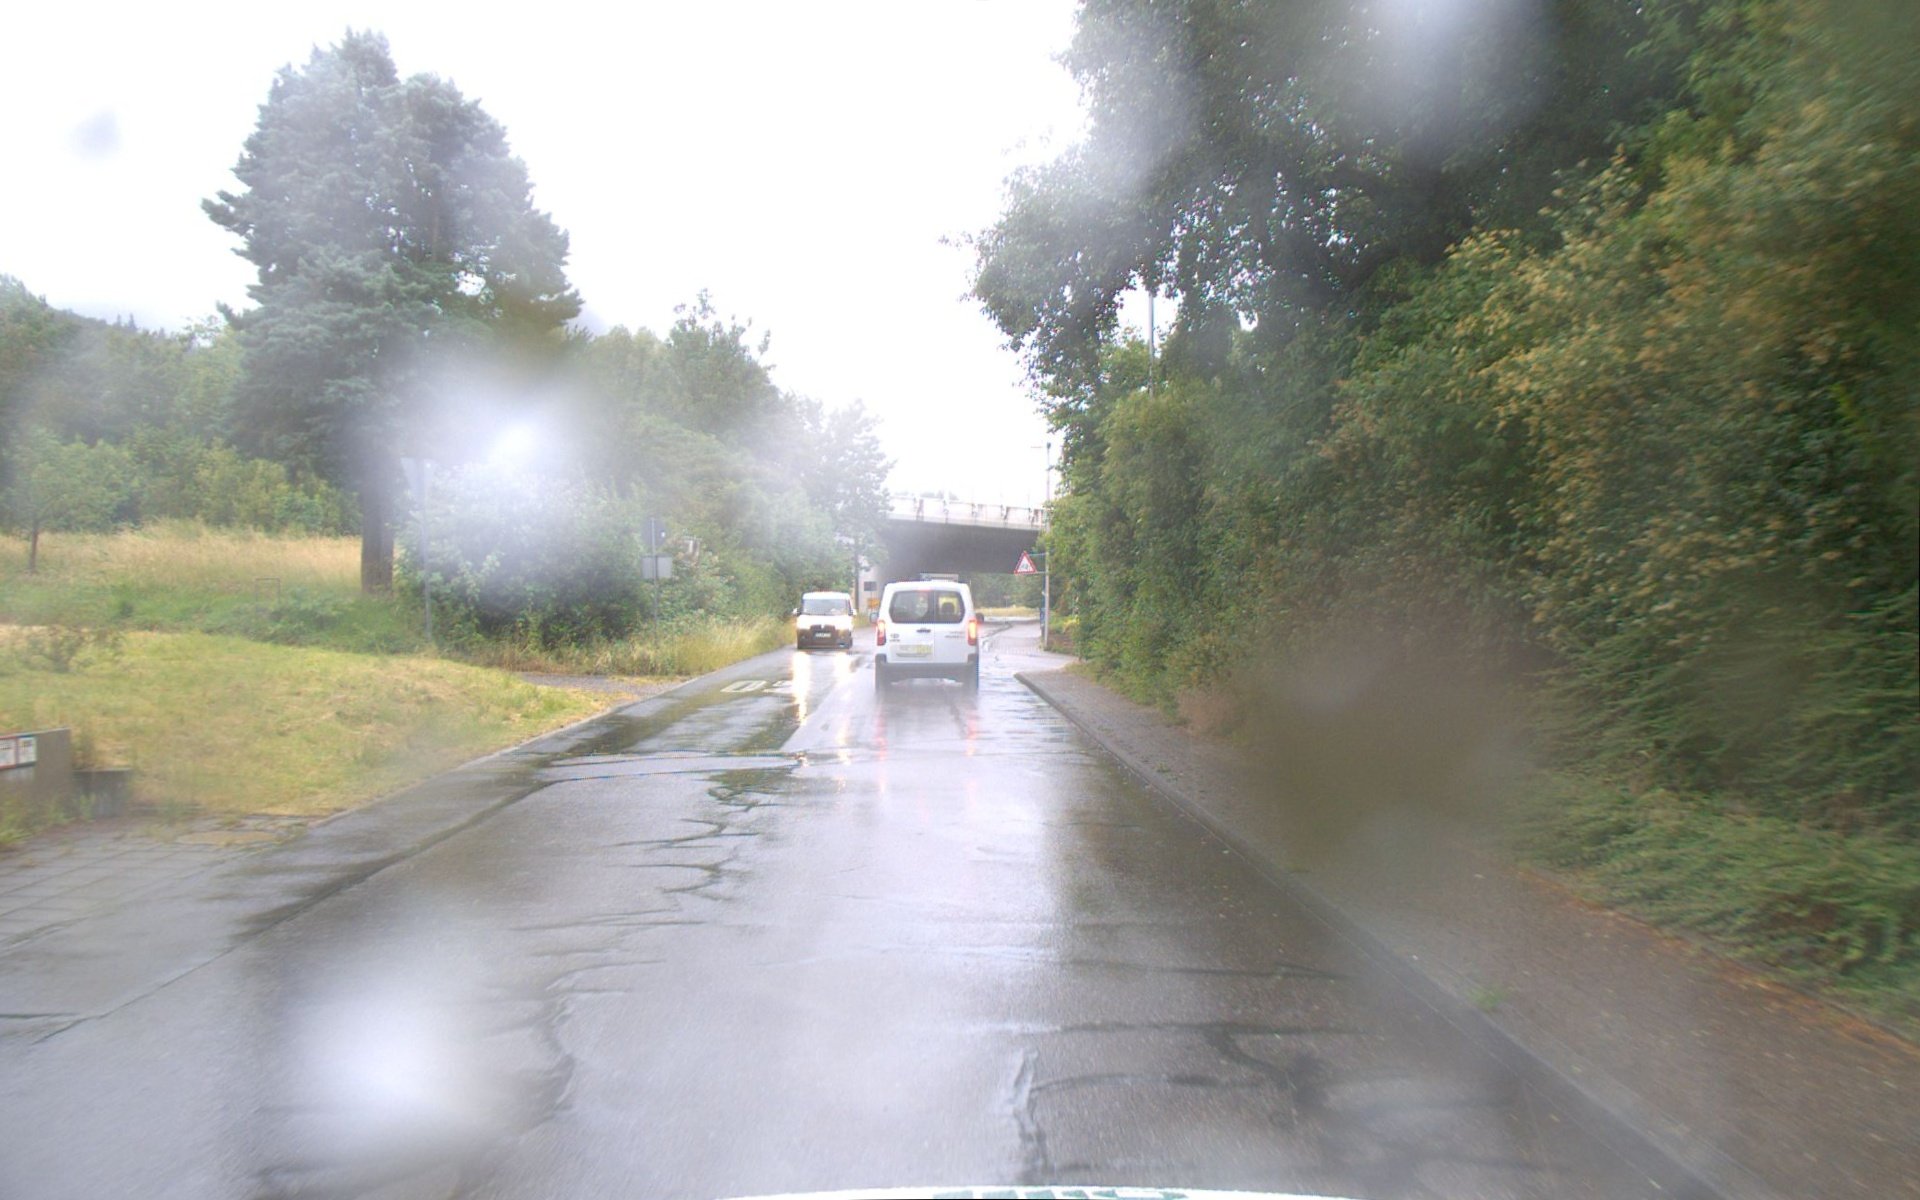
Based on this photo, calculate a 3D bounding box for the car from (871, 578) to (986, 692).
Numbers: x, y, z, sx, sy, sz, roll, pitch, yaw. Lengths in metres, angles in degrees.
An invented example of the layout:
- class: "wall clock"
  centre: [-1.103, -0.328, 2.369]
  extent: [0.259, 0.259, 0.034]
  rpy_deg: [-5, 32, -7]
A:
- class: "car"
  centre: [-0.535, 0.553, 29.012]
  extent: [1.858, 1.838, 4.000]
  rpy_deg: [-1, 0, -1]

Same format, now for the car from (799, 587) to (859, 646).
- class: "car"
  centre: [-4.249, 0.531, 54.128]
  extent: [1.787, 1.864, 4.305]
  rpy_deg: [1, 0, -3]

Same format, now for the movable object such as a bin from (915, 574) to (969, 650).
- class: "movable object such as a bin"
  centre: [-0.599, 0.435, 58.875]
  extent: [1.725, 2.592, 4.239]
  rpy_deg: [1, 0, 1]
